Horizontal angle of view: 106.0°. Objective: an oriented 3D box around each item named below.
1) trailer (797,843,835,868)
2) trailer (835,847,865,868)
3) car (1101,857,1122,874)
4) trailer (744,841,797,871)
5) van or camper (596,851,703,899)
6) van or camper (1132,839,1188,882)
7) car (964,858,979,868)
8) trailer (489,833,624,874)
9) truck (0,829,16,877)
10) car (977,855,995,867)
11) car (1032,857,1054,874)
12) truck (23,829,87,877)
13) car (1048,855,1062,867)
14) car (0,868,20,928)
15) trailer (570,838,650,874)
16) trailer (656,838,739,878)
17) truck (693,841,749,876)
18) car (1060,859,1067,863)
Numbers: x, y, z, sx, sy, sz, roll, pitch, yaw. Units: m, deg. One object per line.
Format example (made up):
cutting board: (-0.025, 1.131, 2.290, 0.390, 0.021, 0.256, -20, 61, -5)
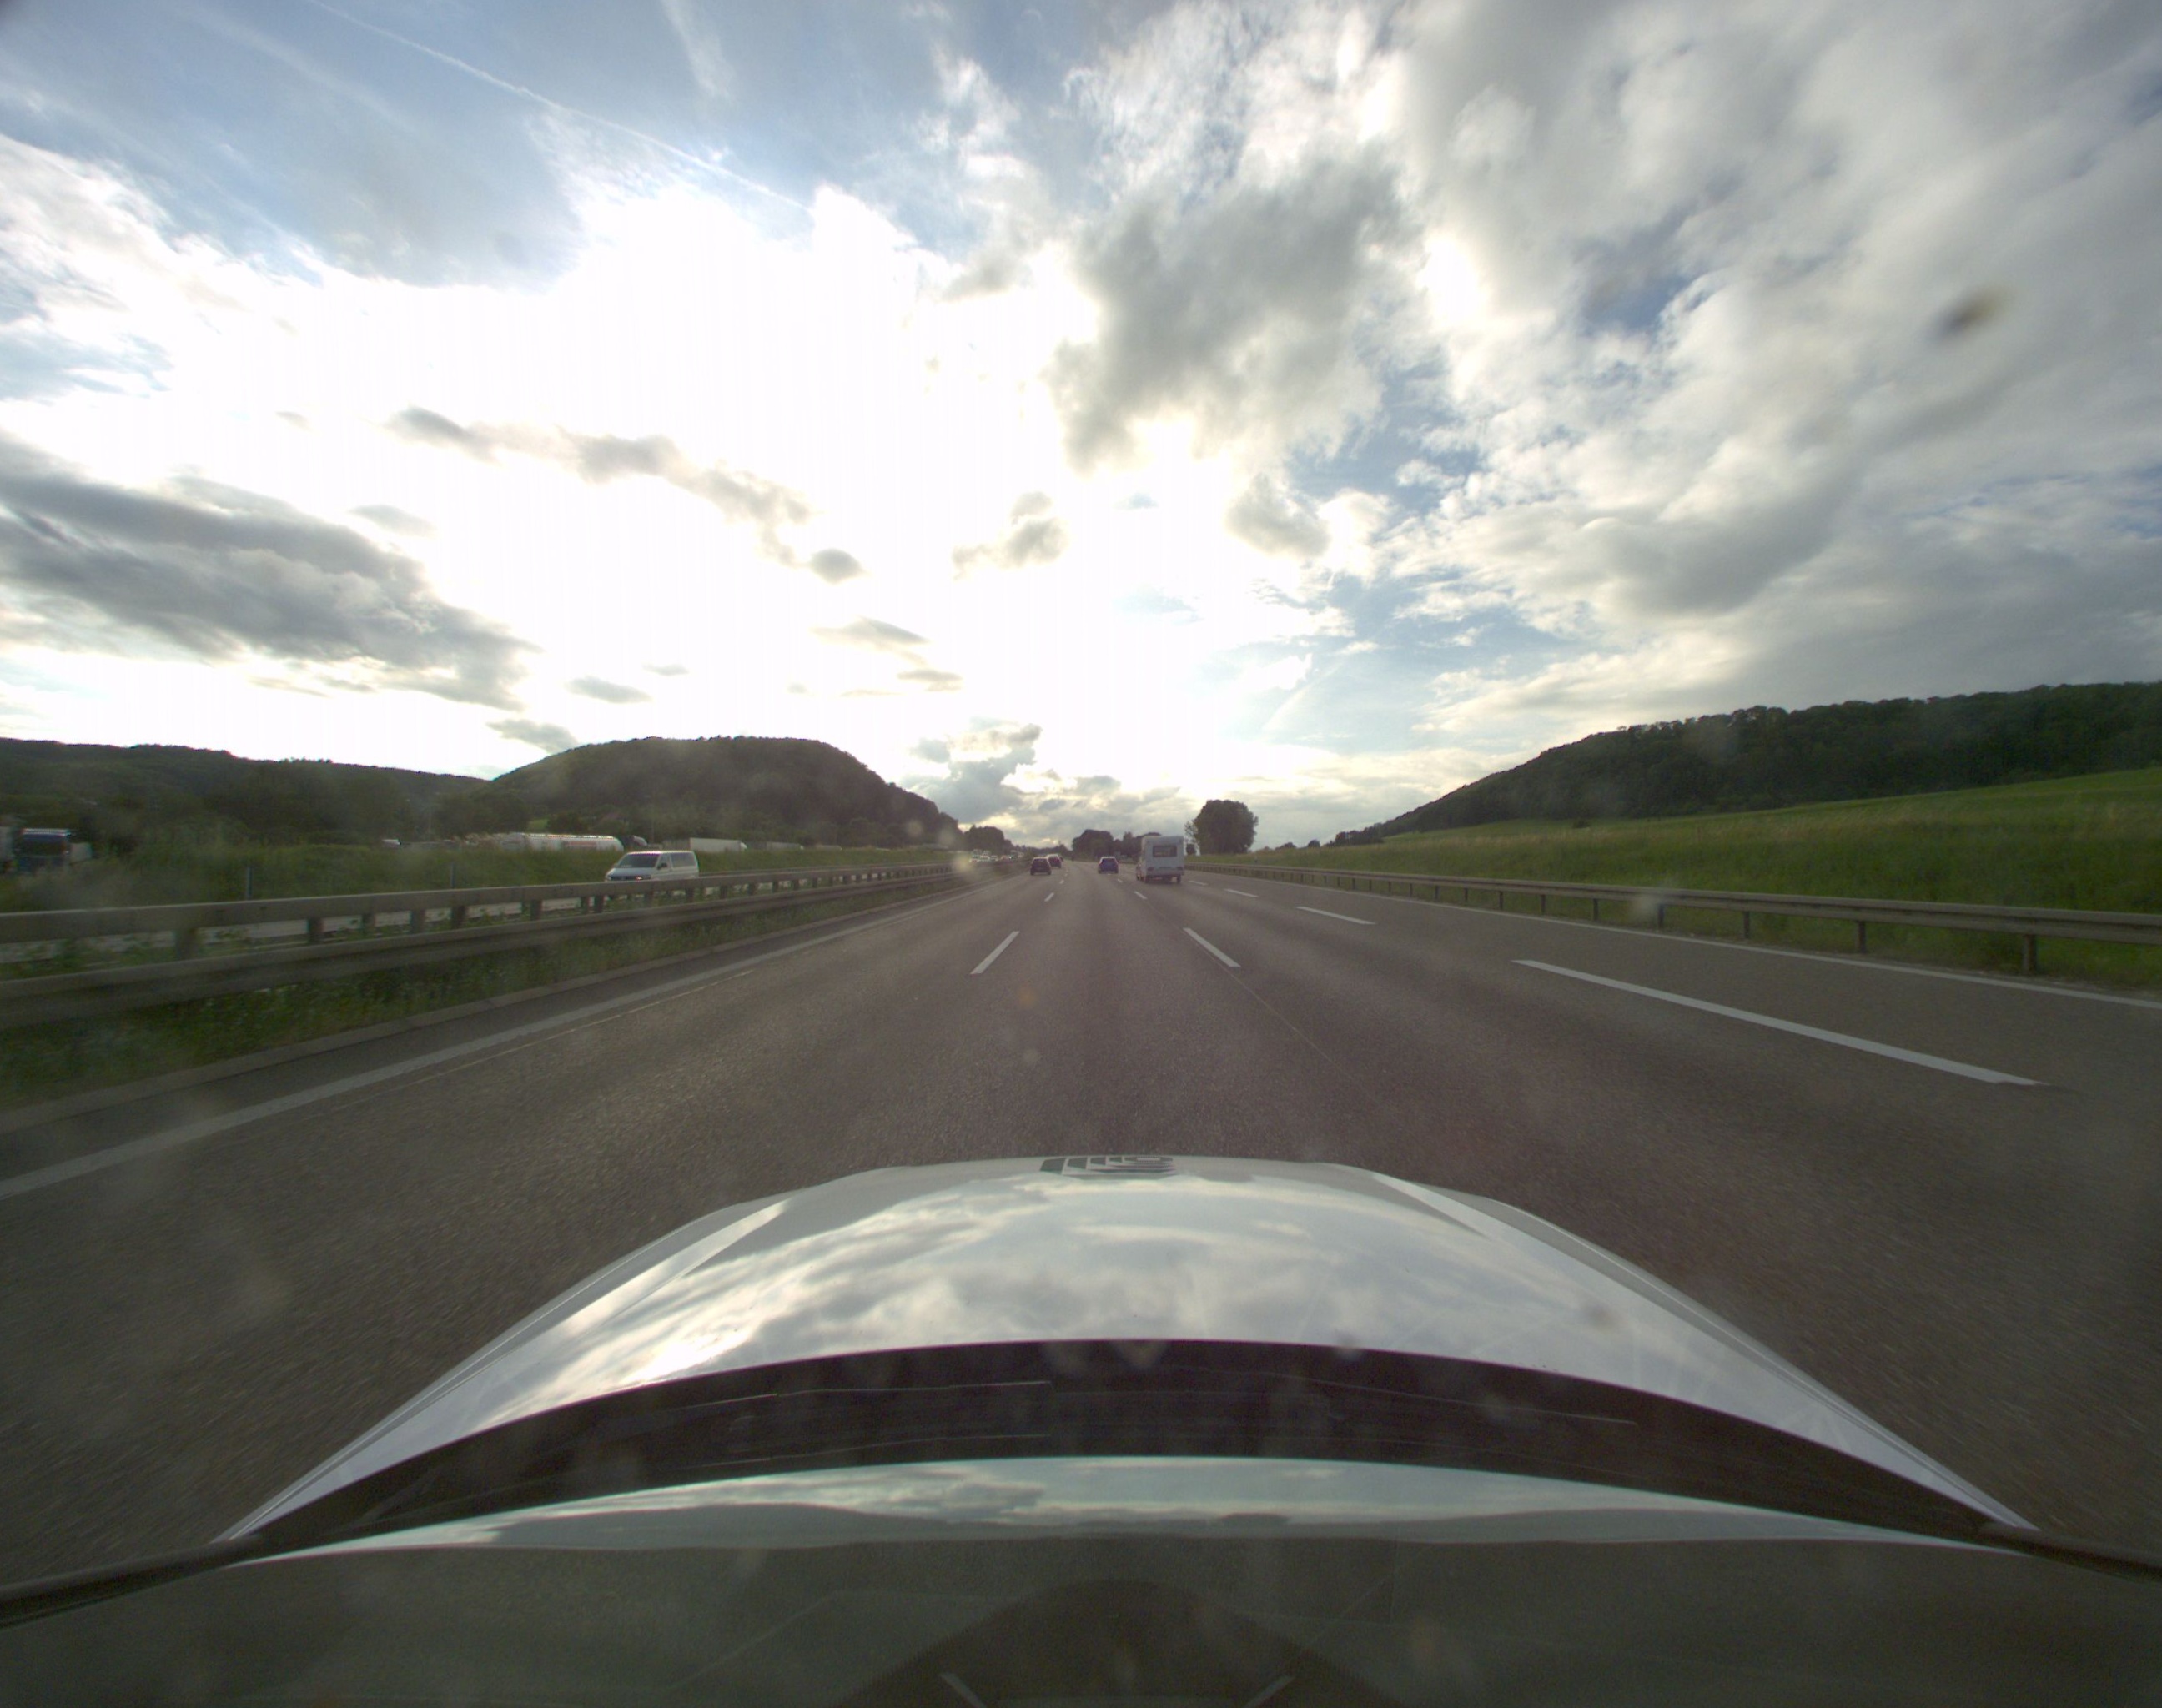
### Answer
trailer: (-42.059, 0.204, 129.639, 2.870, 3.696, 10.363, -2, 0, -2)
trailer: (-43.084, 0.600, 151.974, 2.870, 3.696, 10.363, -2, 0, -2)
car: (2.655, 0.996, 71.671, 1.761, 1.433, 4.000, -2, -1, 1)
trailer: (-41.145, 0.371, 108.548, 2.872, 3.696, 13.651, -2, -1, -5)
van or camper: (-18.133, 0.841, 34.502, 1.909, 1.873, 4.755, -1, 0, 0)
van or camper: (4.389, 0.366, 45.971, 2.540, 2.239, 5.327, -1, 0, -1)
car: (-17.517, 1.480, 130.695, 1.801, 1.614, 4.339, 0, -1, -1)
trailer: (-39.316, 0.115, 61.822, 2.572, 2.854, 12.253, 0, -1, -2)
truck: (-90.324, -0.041, 66.729, 11.235, 3.857, 2.603, -2, -2, 42)
car: (-13.067, 0.962, 112.207, 1.834, 1.530, 4.216, -3, 0, 2)
car: (-3.161, 0.931, 68.701, 1.533, 1.348, 3.677, -2, 0, 1)
truck: (-89.069, 0.034, 70.865, 11.235, 3.857, 2.603, -2, -2, 42)
car: (-3.263, 0.835, 101.919, 1.560, 1.380, 3.999, -1, 0, 0)
car: (-29.984, 1.190, 19.852, 4.622, 1.551, 1.986, -1, 0, -22)
trailer: (-39.425, 0.282, 68.508, 2.605, 2.854, 7.299, 0, -1, -2)
trailer: (-40.120, 0.435, 85.891, 2.871, 3.696, 13.659, -2, 0, -3)
truck: (-40.433, 0.505, 91.832, 2.875, 3.691, 8.483, -2, -1, -3)
car: (-4.968, 1.972, 230.211, 1.749, 1.222, 3.990, -1, 0, -7)
